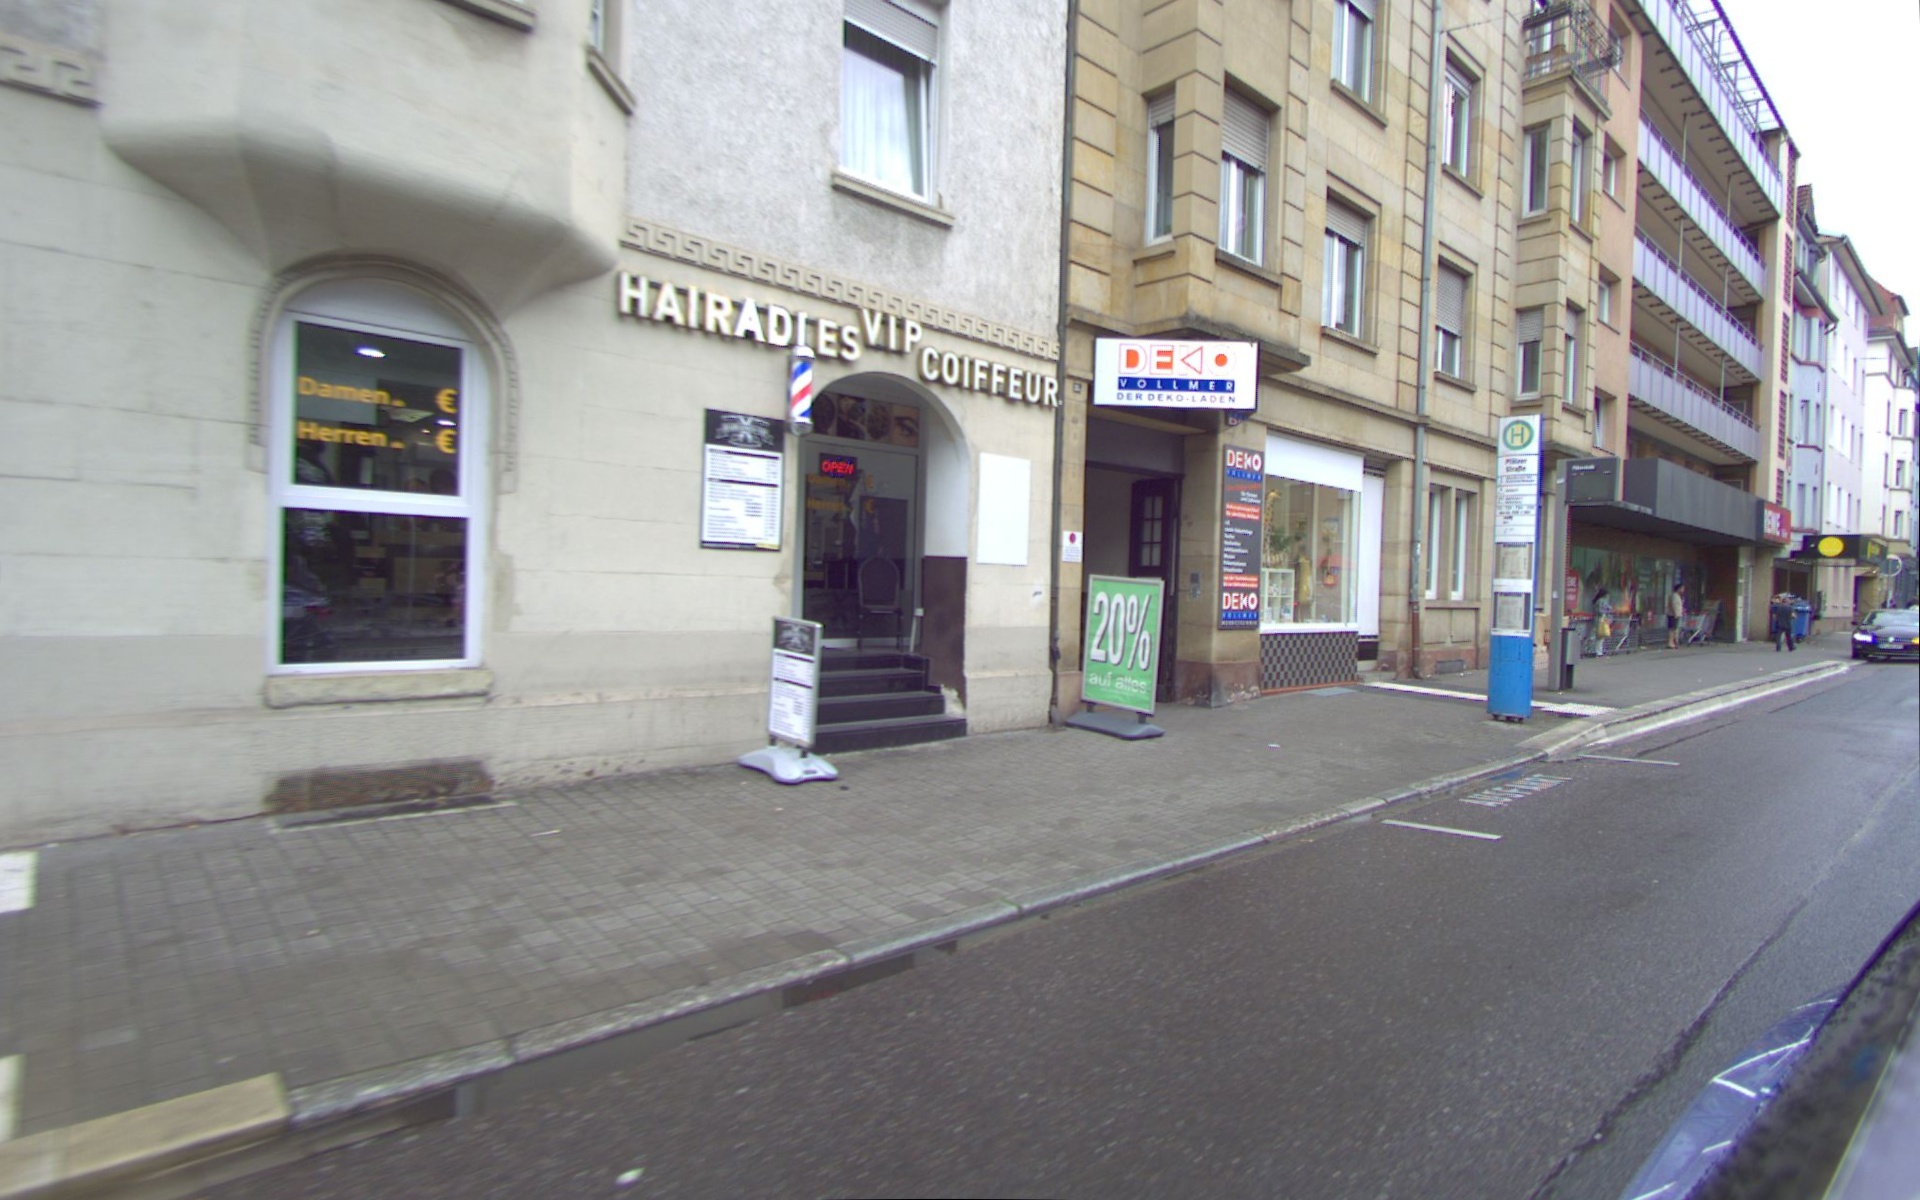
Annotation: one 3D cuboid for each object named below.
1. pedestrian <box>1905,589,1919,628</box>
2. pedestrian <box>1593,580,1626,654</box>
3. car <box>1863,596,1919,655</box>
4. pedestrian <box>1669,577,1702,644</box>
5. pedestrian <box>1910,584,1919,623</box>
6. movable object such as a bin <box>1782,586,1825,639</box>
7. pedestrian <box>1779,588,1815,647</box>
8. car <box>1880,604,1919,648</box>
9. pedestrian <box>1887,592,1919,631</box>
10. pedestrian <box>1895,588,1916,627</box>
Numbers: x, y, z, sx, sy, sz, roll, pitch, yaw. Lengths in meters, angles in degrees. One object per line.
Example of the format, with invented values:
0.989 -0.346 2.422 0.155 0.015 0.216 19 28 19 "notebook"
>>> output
44.447 0.390 46.567 0.837 1.770 1.066 2 2 -8 "pedestrian"
14.182 0.362 22.103 0.558 1.592 0.620 1 0 31 "pedestrian"
27.022 0.693 28.668 3.913 1.567 1.732 0 1 -42 "car"
20.677 0.280 28.852 0.714 1.882 0.597 -1 1 -39 "pedestrian"
41.746 0.157 43.651 0.767 1.667 0.705 2 2 -8 "pedestrian"
29.802 0.422 35.744 1.275 1.815 1.000 -1 2 -44 "movable object such as a bin"
24.955 0.513 30.178 0.736 1.671 0.626 1 4 -43 "pedestrian"
31.000 0.813 32.470 3.701 1.327 1.737 0 -1 -41 "car"
41.522 0.509 44.503 0.767 1.667 0.705 2 2 -8 "pedestrian"
44.800 0.355 47.944 0.686 1.770 0.610 0 2 -42 "pedestrian"
